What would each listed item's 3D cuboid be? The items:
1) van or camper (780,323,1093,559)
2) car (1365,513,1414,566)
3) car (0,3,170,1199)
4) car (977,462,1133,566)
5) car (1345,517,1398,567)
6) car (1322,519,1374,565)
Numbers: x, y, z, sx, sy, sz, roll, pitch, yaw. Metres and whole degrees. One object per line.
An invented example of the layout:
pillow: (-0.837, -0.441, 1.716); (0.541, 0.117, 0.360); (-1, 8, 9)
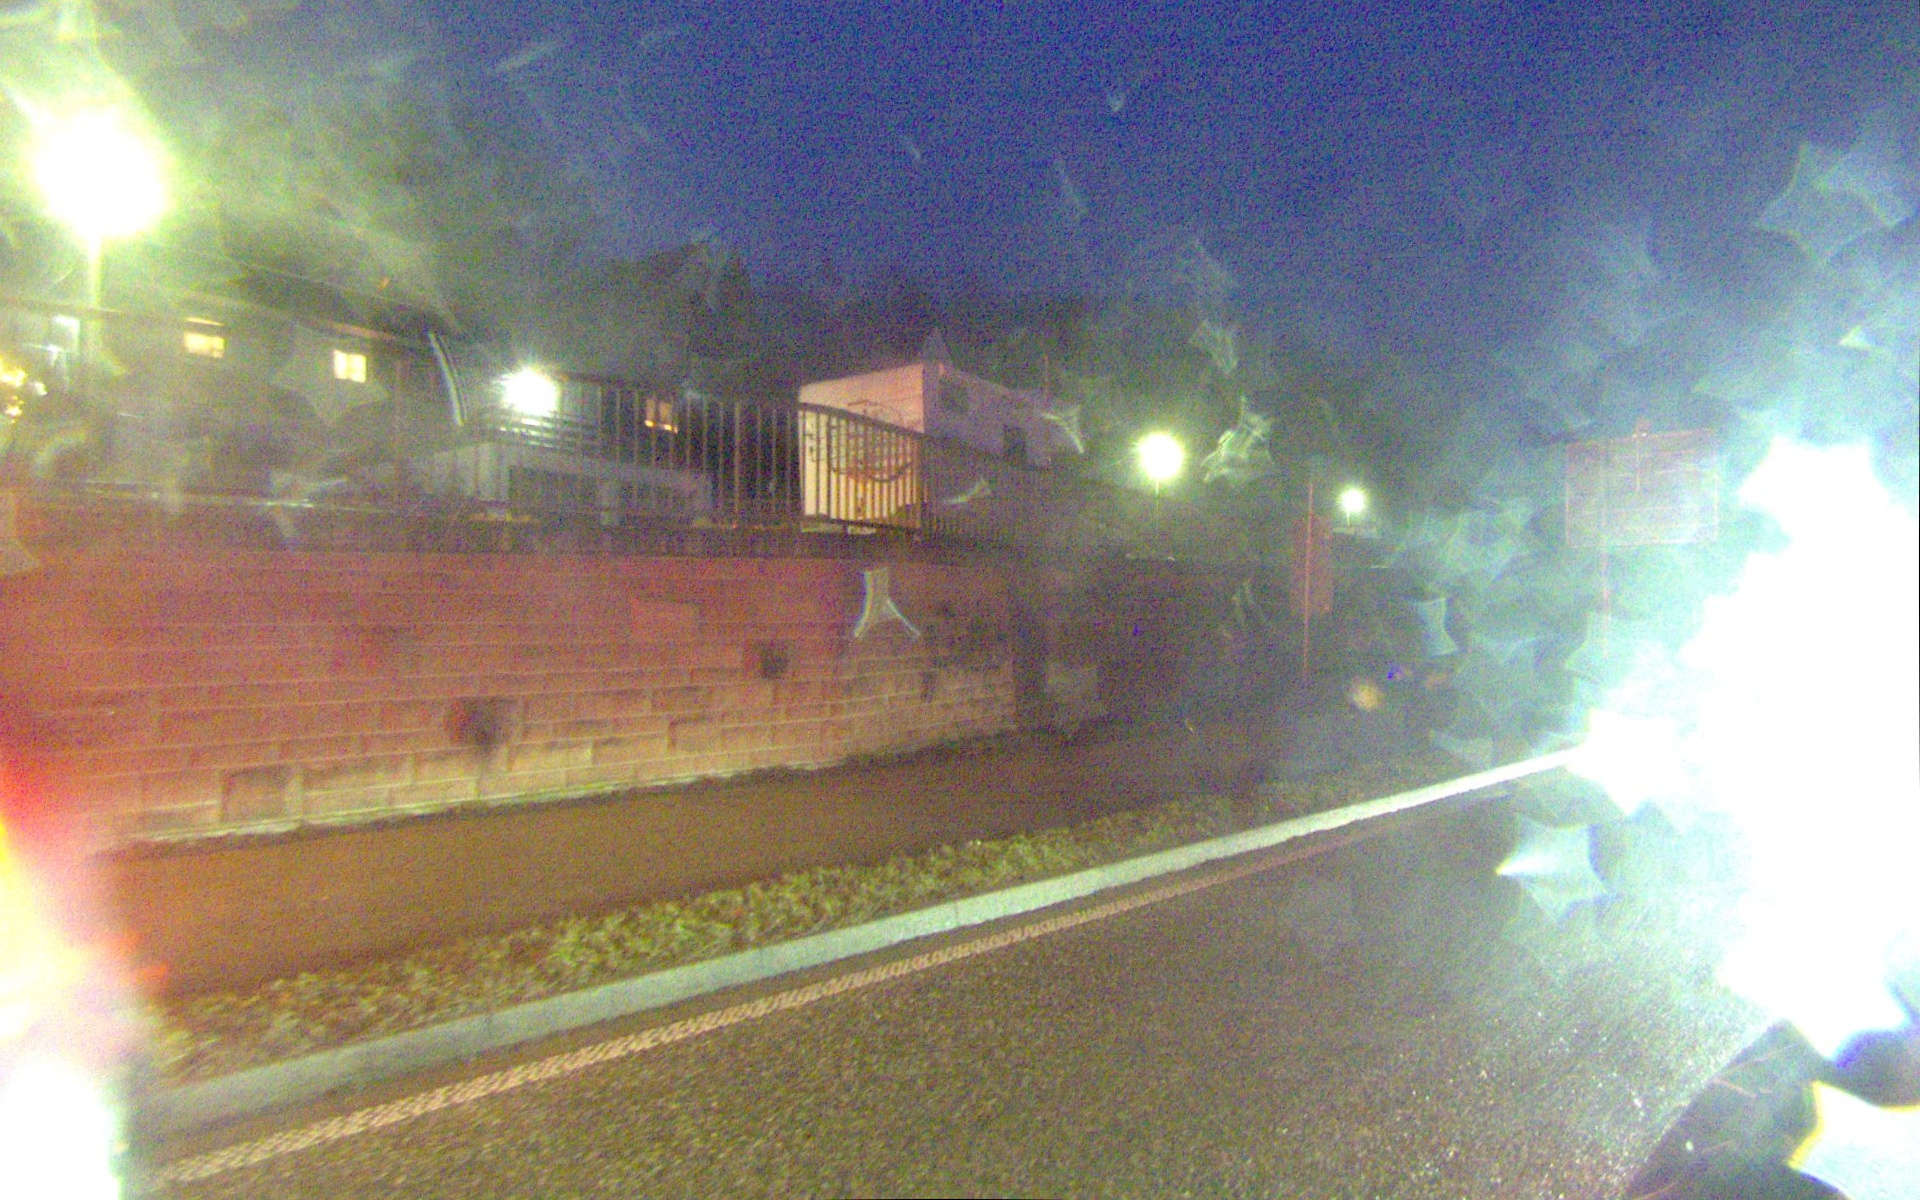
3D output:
van or camper: (-0.084, -2.162, 16.069); (2.395, 2.828, 5.712); (0, 0, 30)
car: (24.892, -3.449, 58.594); (1.922, 2.809, 4.206); (0, 0, 32)
car: (-2.924, 0.459, 0.229); (4.265, 1.888, 1.855); (-1, 0, -41)
car: (2.264, -1.842, 23.088); (1.985, 2.039, 3.954); (0, 0, 32)
car: (22.024, -3.055, 54.070); (1.922, 2.451, 4.206); (0, 0, 32)
car: (19.066, -2.795, 49.685); (1.721, 2.039, 3.658); (0, 0, 32)
